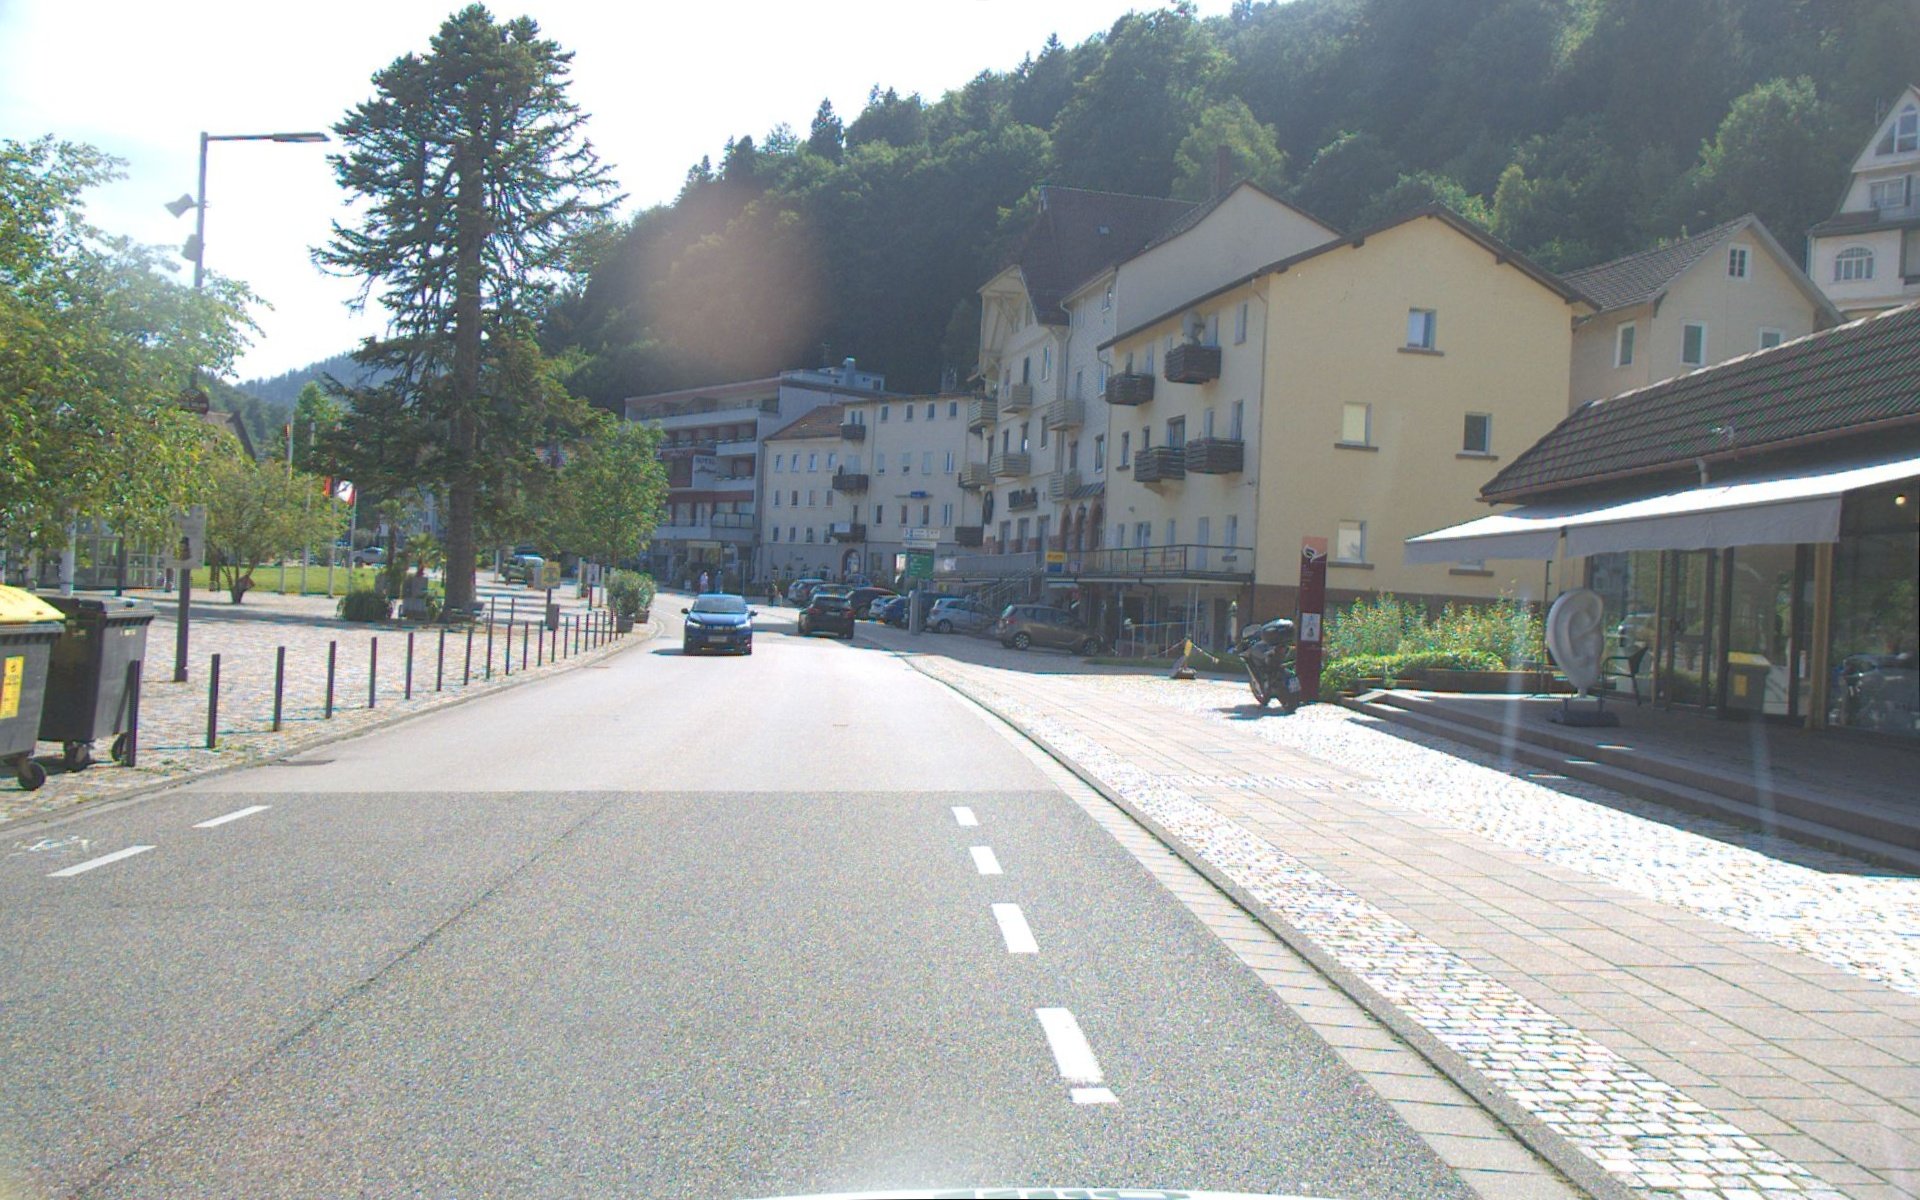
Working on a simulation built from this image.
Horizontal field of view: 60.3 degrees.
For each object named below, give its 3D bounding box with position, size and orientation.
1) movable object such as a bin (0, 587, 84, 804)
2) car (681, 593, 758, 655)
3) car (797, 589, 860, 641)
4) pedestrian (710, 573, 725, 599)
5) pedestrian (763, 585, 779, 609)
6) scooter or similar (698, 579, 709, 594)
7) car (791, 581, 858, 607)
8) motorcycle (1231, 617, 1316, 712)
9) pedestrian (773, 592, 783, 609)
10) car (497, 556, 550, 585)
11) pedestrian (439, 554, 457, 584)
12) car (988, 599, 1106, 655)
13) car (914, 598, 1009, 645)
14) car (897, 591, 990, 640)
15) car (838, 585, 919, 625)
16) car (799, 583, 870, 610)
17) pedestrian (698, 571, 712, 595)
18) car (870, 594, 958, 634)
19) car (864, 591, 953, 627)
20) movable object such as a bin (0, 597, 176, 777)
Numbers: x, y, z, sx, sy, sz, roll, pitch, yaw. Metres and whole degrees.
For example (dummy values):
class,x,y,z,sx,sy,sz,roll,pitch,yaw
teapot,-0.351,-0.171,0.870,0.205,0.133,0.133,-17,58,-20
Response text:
class,x,y,z,sx,sy,sz,roll,pitch,yaw
movable object such as a bin,-7.122,0.638,11.706,1.057,1.452,1.376,5,0,-4
car,-6.225,0.589,43.071,1.707,1.488,4.183,1,0,-5
car,-4.856,0.515,60.696,1.697,1.601,3.742,4,2,-13
pedestrian,-17.069,-0.985,116.404,0.662,1.758,0.699,4,0,-33
pedestrian,-11.476,-0.195,100.639,0.729,1.467,0.624,1,1,-38
scooter or similar,-17.958,-0.935,115.874,0.591,0.967,0.469,4,0,-34
car,-8.547,-0.373,104.160,3.822,1.576,1.754,0,3,-31
motorcycle,4.603,0.917,24.427,0.683,1.319,2.210,0,0,-5
pedestrian,-11.115,0.016,100.984,0.414,1.019,0.524,1,1,-37
car,-31.548,-2.144,119.467,1.842,1.987,4.948,2,0,-38
pedestrian,-33.230,-2.005,107.355,0.858,1.846,0.684,4,0,-32
car,3.108,0.967,59.236,3.794,1.581,1.755,6,0,-14
car,0.052,0.929,72.782,3.840,1.616,1.770,6,0,-11
car,-0.747,0.697,75.456,3.841,1.835,1.853,6,-1,-11
car,-4.413,0.286,89.153,4.012,1.694,1.768,6,0,-11
car,-7.670,-0.206,101.121,3.969,1.542,1.754,0,3,-31
pedestrian,-17.838,-1.204,115.727,0.750,1.621,0.621,4,0,-33
car,-2.170,0.637,78.064,3.840,1.486,1.732,6,0,-11
car,-2.650,0.467,84.528,4.276,1.486,1.769,5,-2,-9
movable object such as a bin,-7.180,0.685,13.670,0.740,1.365,1.293,5,0,-4
